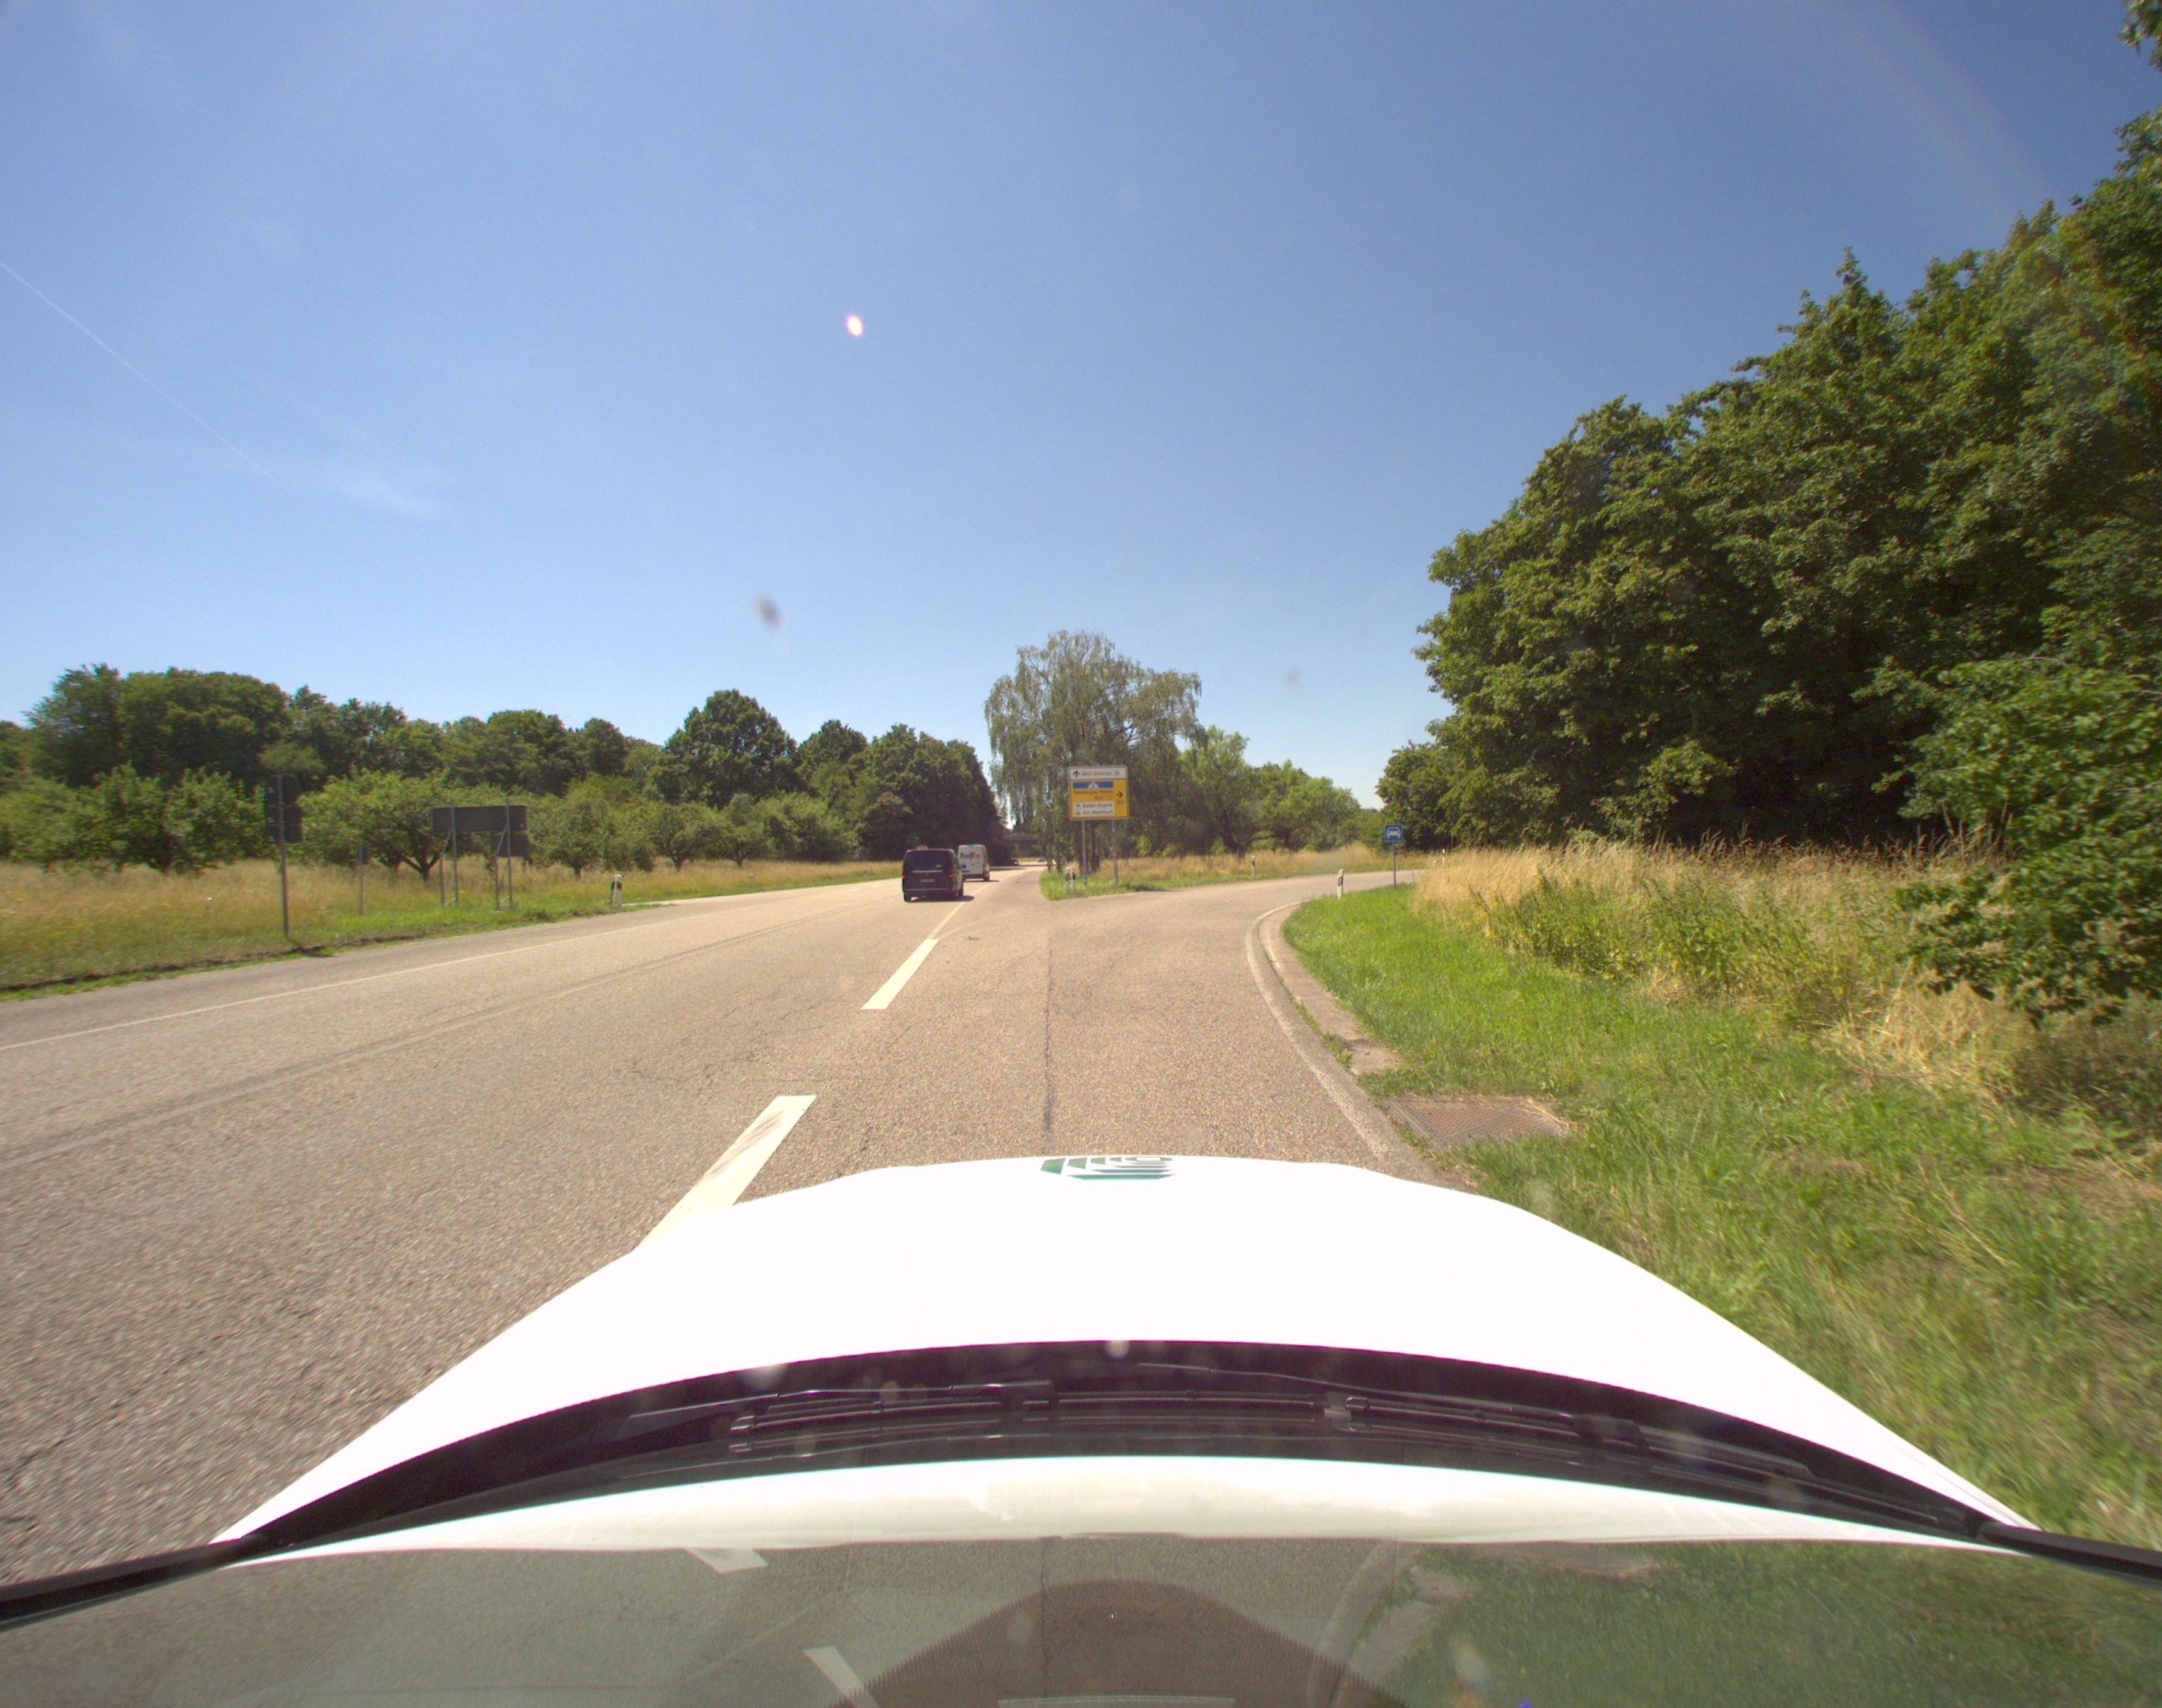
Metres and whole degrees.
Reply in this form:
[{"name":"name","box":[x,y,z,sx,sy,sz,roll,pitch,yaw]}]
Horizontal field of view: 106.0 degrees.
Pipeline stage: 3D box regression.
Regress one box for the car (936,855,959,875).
[{"name":"car","box":[-14.657,1.197,89.868,1.989,2.014,3.996,1,0,-3]}]

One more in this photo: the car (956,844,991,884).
[{"name":"car","box":[-7.610,0.679,58.151,2.073,2.702,4.661,0,0,-3]}]

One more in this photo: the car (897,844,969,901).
[{"name":"car","box":[-5.379,0.651,30.310,1.989,1.952,4.999,0,0,-3]}]
